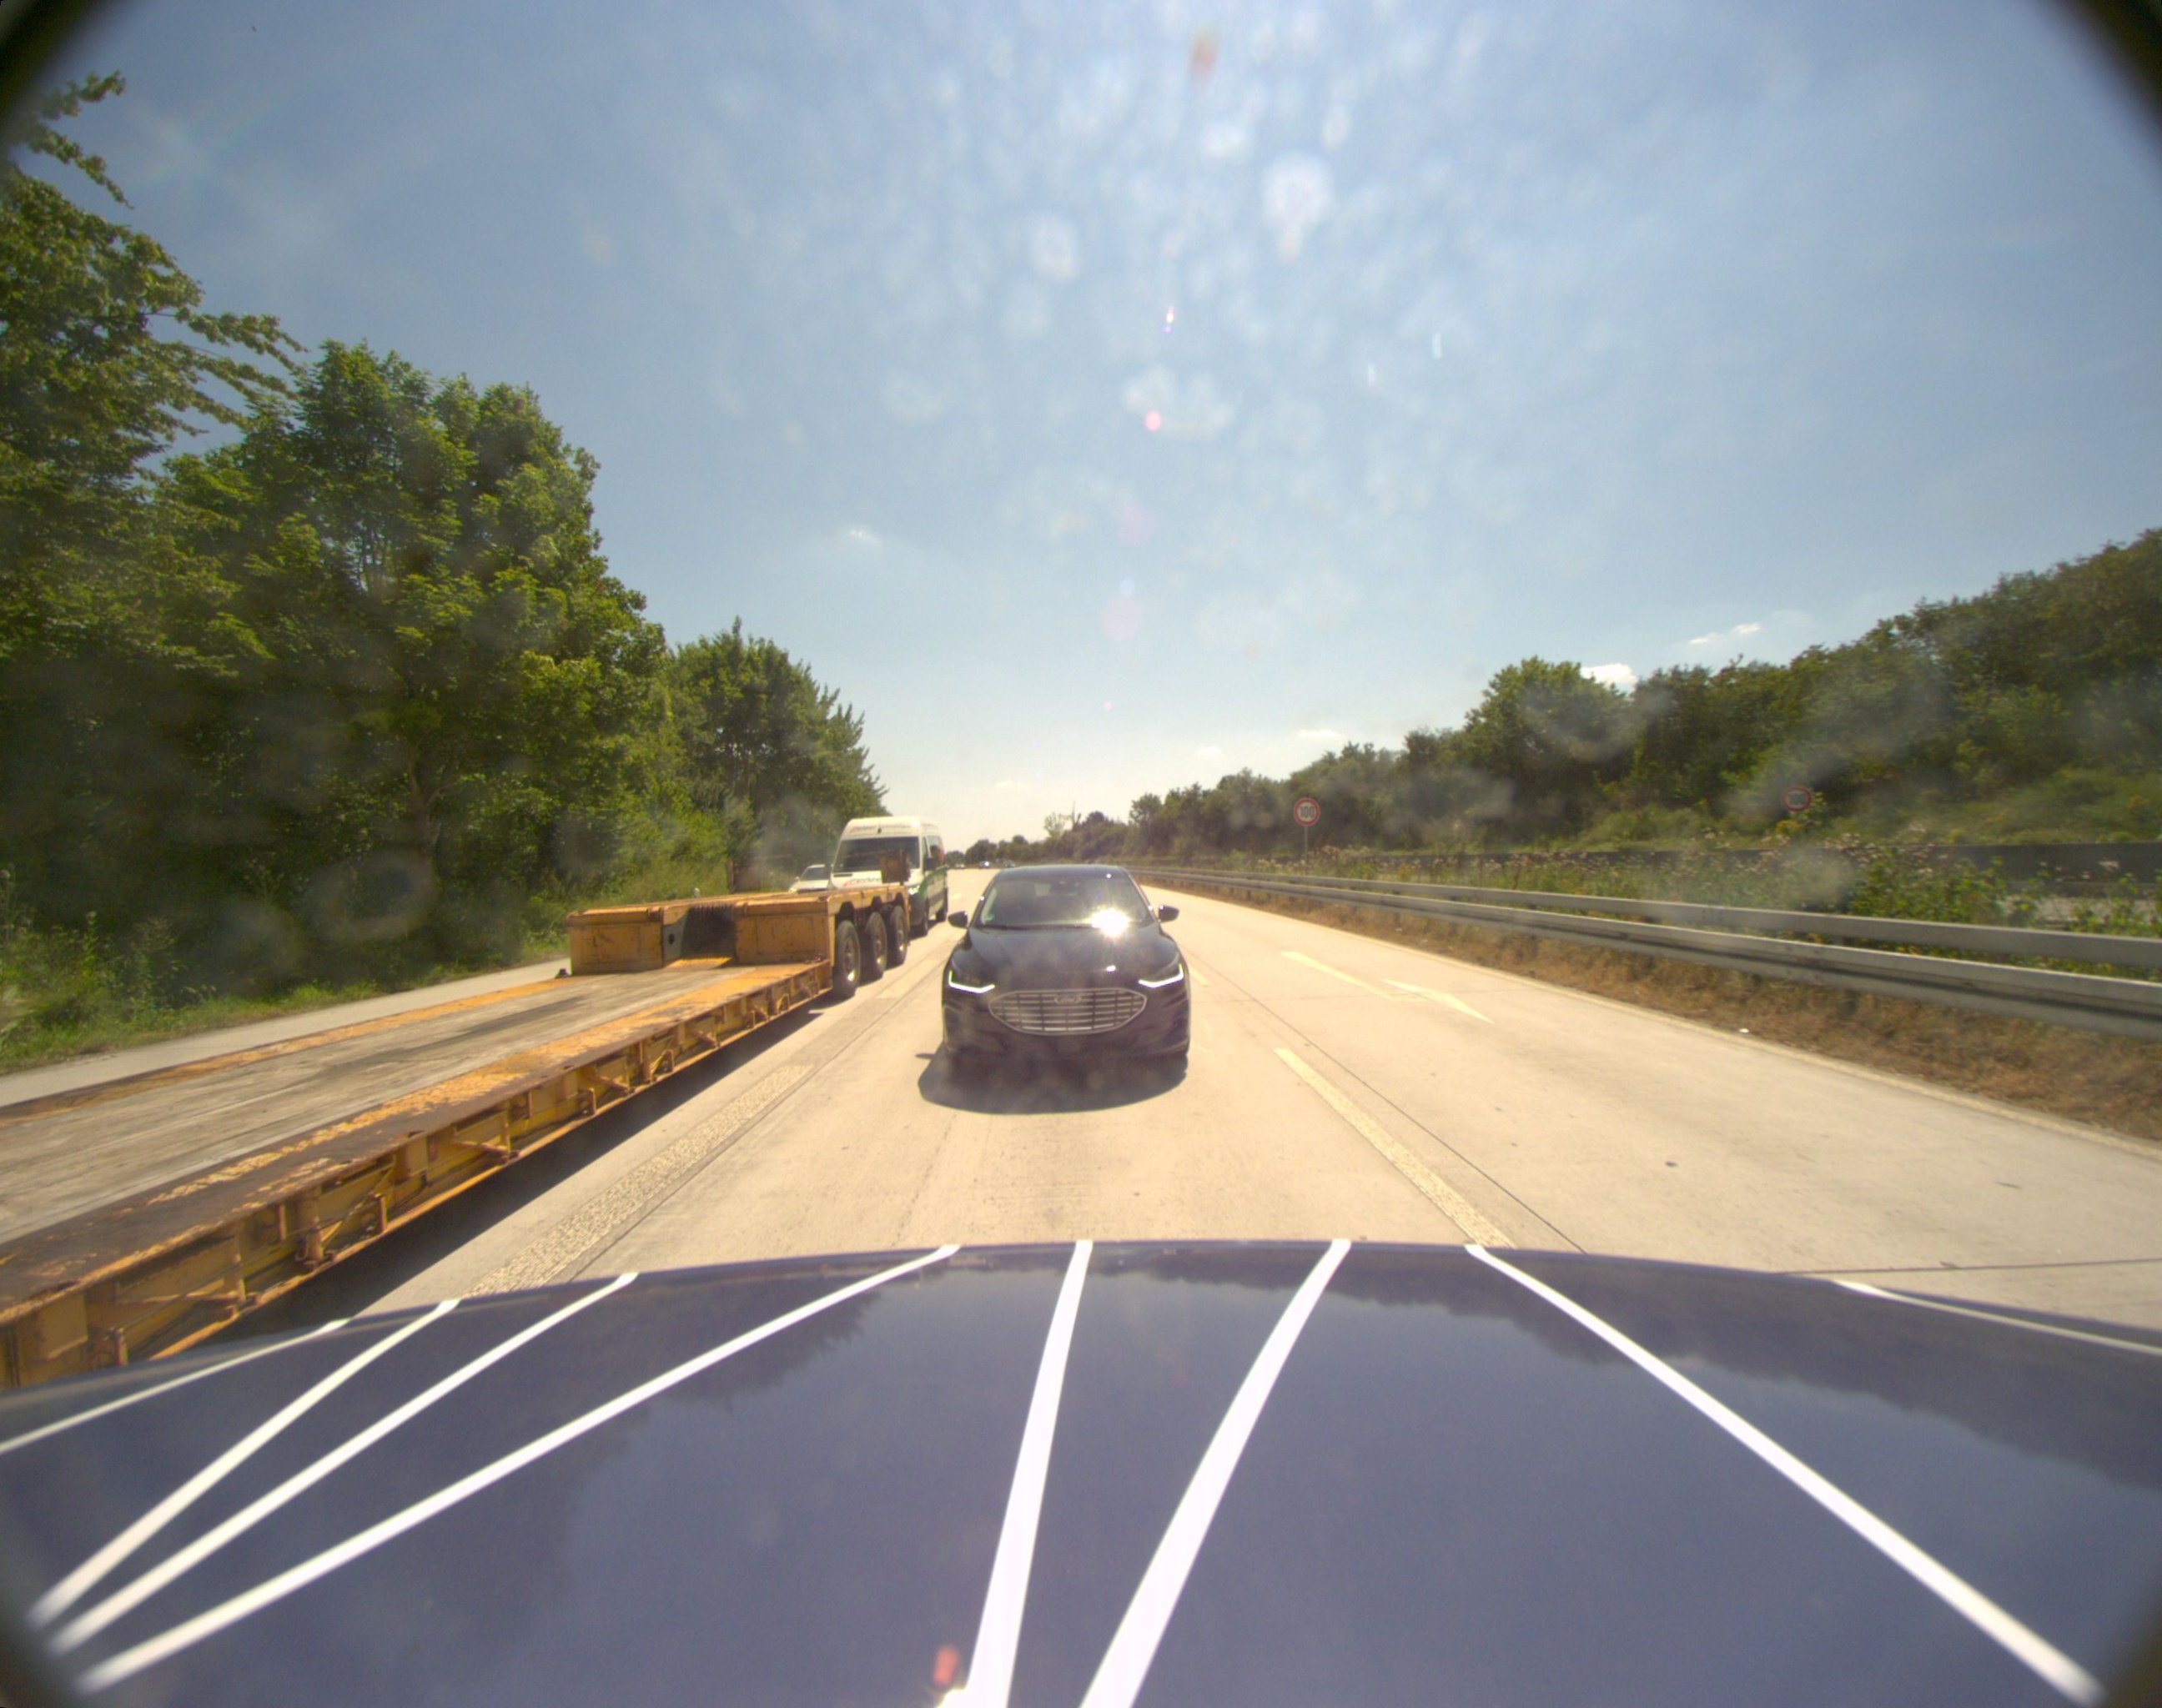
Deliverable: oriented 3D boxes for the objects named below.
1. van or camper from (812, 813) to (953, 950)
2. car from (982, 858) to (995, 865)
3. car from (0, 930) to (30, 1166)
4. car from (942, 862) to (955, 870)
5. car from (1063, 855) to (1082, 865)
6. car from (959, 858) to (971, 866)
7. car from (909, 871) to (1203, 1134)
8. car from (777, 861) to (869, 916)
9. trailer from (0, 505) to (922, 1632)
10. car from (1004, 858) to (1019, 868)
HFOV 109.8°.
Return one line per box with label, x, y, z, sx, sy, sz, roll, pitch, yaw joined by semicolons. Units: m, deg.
van or camper;-4.288;0.499;17.542;2.069;2.559;5.904;-2;1;-5
car;-18.278;1.473;149.848;1.709;1.456;3.993;-3;1;-20
car;-7.566;1.256;2.512;1.772;1.453;4.597;-2;1;-1
car;-26.595;2.399;151.997;1.775;1.552;4.360;-2;1;-19
car;-1.384;0.918;122.749;1.879;1.438;4.597;-2;1;-14
car;-24.767;1.711;162.708;1.893;1.456;3.994;-2;1;-17
car;-0.122;0.950;6.755;1.731;1.430;4.304;-2;0;1
car;-8.511;1.082;25.500;1.772;1.552;4.366;-2;1;-3
trailer;-4.022;0.523;3.823;3.035;2.578;16.355;-2;0;0
car;-10.640;1.325;116.408;1.629;1.476;3.995;-2;1;-14
